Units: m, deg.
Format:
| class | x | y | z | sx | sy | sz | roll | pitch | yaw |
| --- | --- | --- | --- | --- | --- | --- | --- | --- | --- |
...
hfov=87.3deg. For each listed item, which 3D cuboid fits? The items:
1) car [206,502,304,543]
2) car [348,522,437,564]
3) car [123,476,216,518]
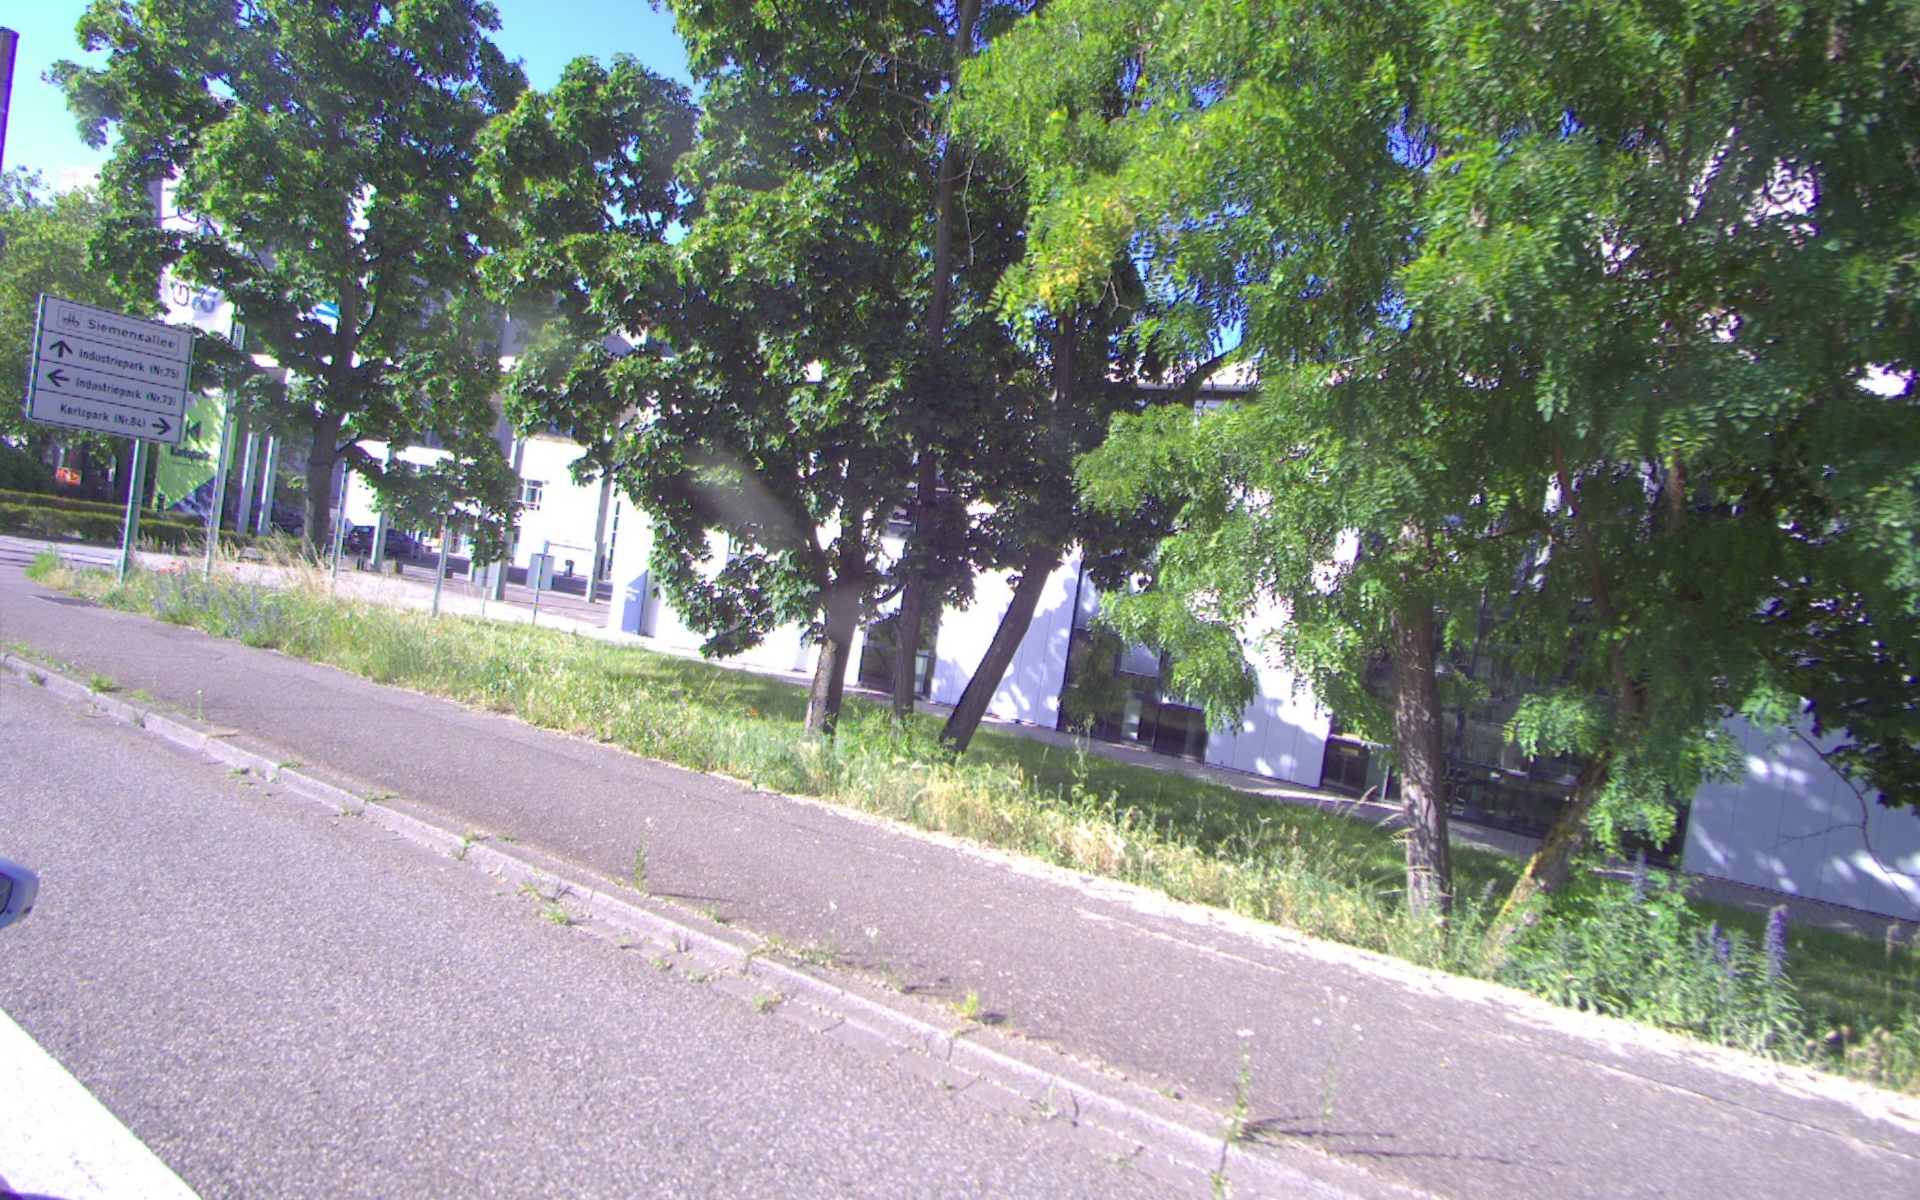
| class | x | y | z | sx | sy | sz | roll | pitch | yaw |
| --- | --- | --- | --- | --- | --- | --- | --- | --- | --- |
| car | -42.518 | -4.649 | 60.796 | 1.841 | 1.649 | 4.553 | 7 | -1 | 19 |
| car | -32.609 | -3.257 | 57.914 | 1.865 | 1.741 | 4.001 | 8 | -1 | 23 |
| car | -48.855 | -6.344 | 62.269 | 1.963 | 1.778 | 4.002 | 8 | -1 | 19 |
